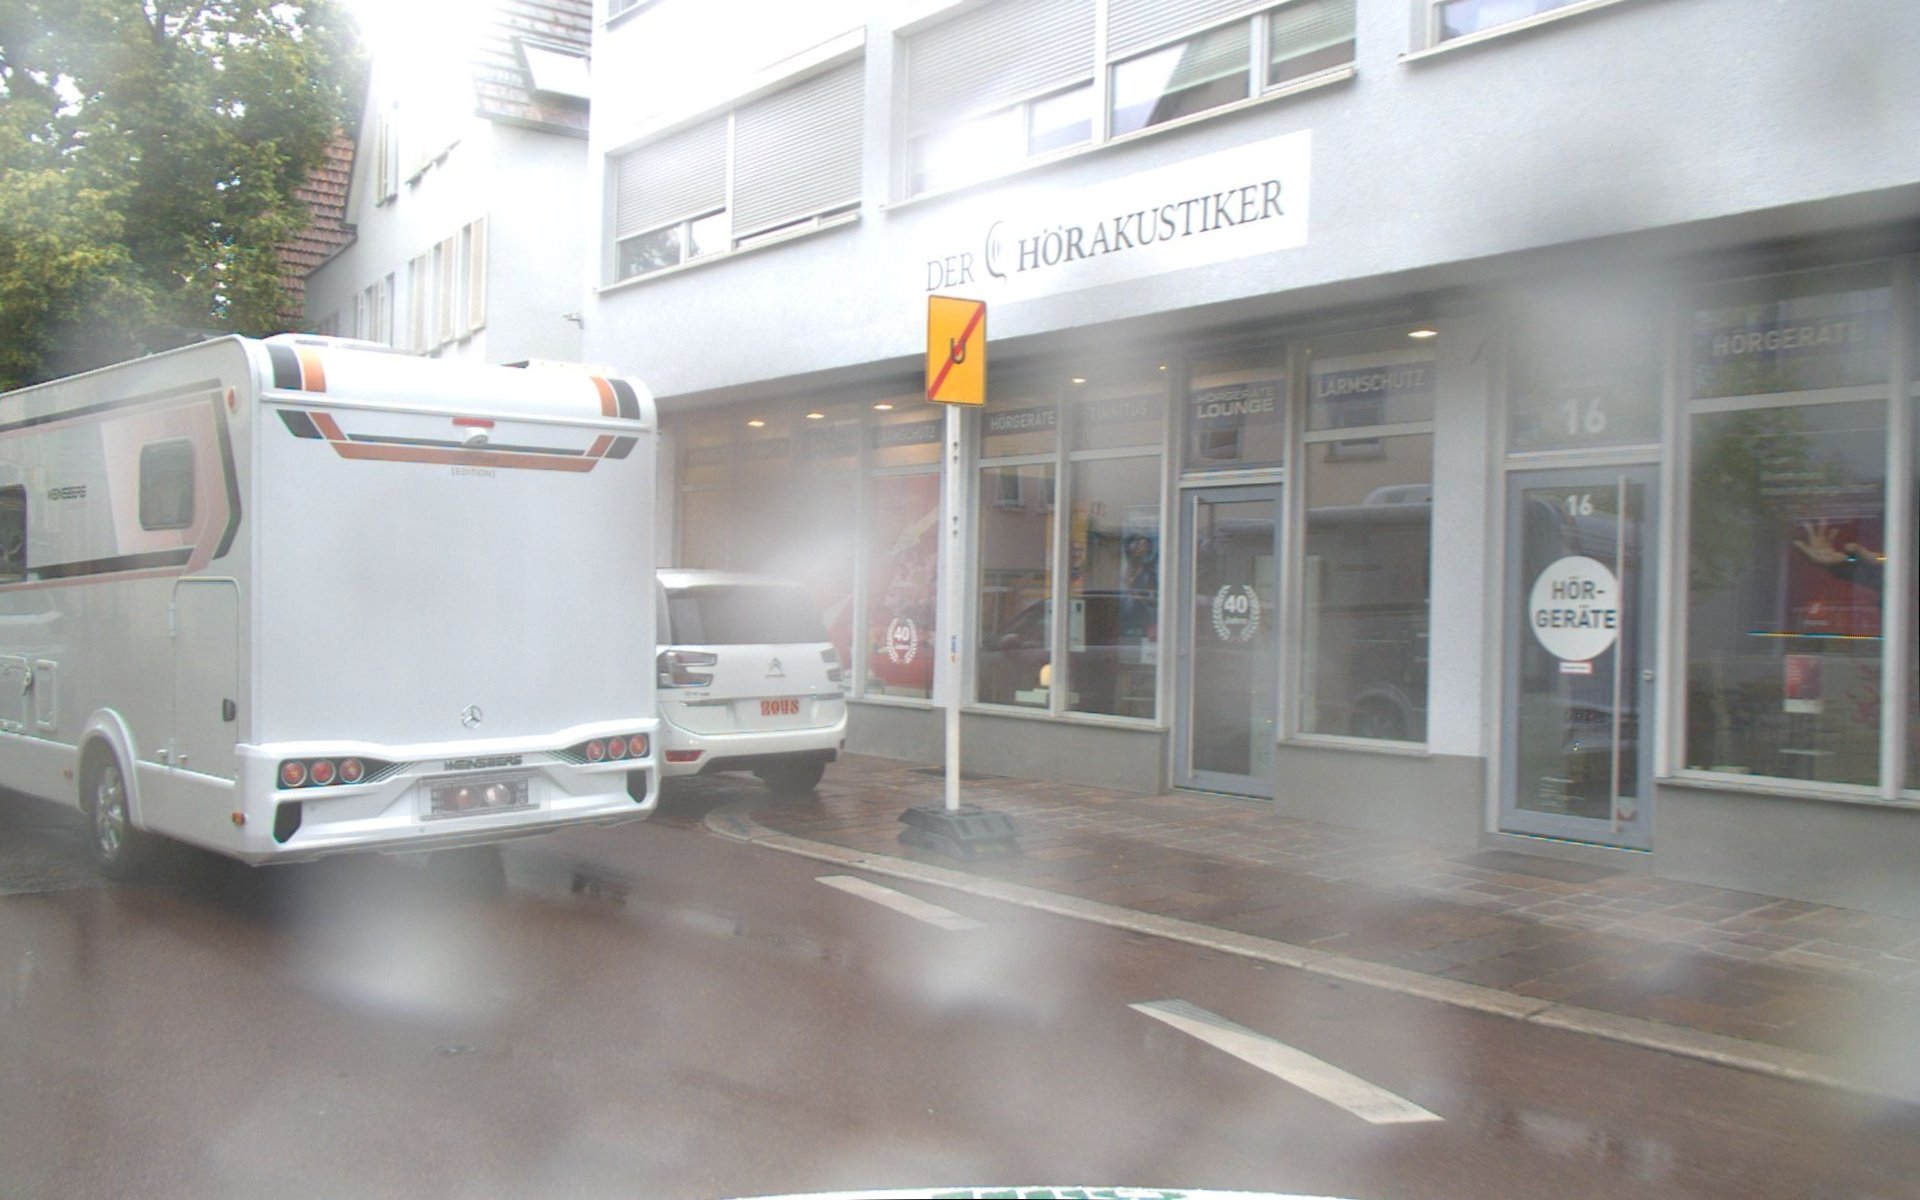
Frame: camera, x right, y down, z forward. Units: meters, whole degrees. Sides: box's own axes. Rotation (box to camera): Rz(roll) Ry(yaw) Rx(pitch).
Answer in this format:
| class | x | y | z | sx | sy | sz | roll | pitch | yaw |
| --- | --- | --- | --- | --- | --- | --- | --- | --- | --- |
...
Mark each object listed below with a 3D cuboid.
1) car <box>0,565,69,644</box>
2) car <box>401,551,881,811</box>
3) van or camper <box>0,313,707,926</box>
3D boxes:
| class | x | y | z | sx | sy | sz | roll | pitch | yaw |
| --- | --- | --- | --- | --- | --- | --- | --- | --- | --- |
| car | -19.311 | 0.060 | 32.058 | 3.490 | 1.504 | 1.565 | 2 | -1 | -32 |
| car | -2.642 | 0.512 | 12.840 | 1.764 | 1.659 | 4.406 | 2 | -1 | -39 |
| van or camper | -4.553 | 0.052 | 10.337 | 2.428 | 2.631 | 6.640 | 2 | 0 | -45 |
